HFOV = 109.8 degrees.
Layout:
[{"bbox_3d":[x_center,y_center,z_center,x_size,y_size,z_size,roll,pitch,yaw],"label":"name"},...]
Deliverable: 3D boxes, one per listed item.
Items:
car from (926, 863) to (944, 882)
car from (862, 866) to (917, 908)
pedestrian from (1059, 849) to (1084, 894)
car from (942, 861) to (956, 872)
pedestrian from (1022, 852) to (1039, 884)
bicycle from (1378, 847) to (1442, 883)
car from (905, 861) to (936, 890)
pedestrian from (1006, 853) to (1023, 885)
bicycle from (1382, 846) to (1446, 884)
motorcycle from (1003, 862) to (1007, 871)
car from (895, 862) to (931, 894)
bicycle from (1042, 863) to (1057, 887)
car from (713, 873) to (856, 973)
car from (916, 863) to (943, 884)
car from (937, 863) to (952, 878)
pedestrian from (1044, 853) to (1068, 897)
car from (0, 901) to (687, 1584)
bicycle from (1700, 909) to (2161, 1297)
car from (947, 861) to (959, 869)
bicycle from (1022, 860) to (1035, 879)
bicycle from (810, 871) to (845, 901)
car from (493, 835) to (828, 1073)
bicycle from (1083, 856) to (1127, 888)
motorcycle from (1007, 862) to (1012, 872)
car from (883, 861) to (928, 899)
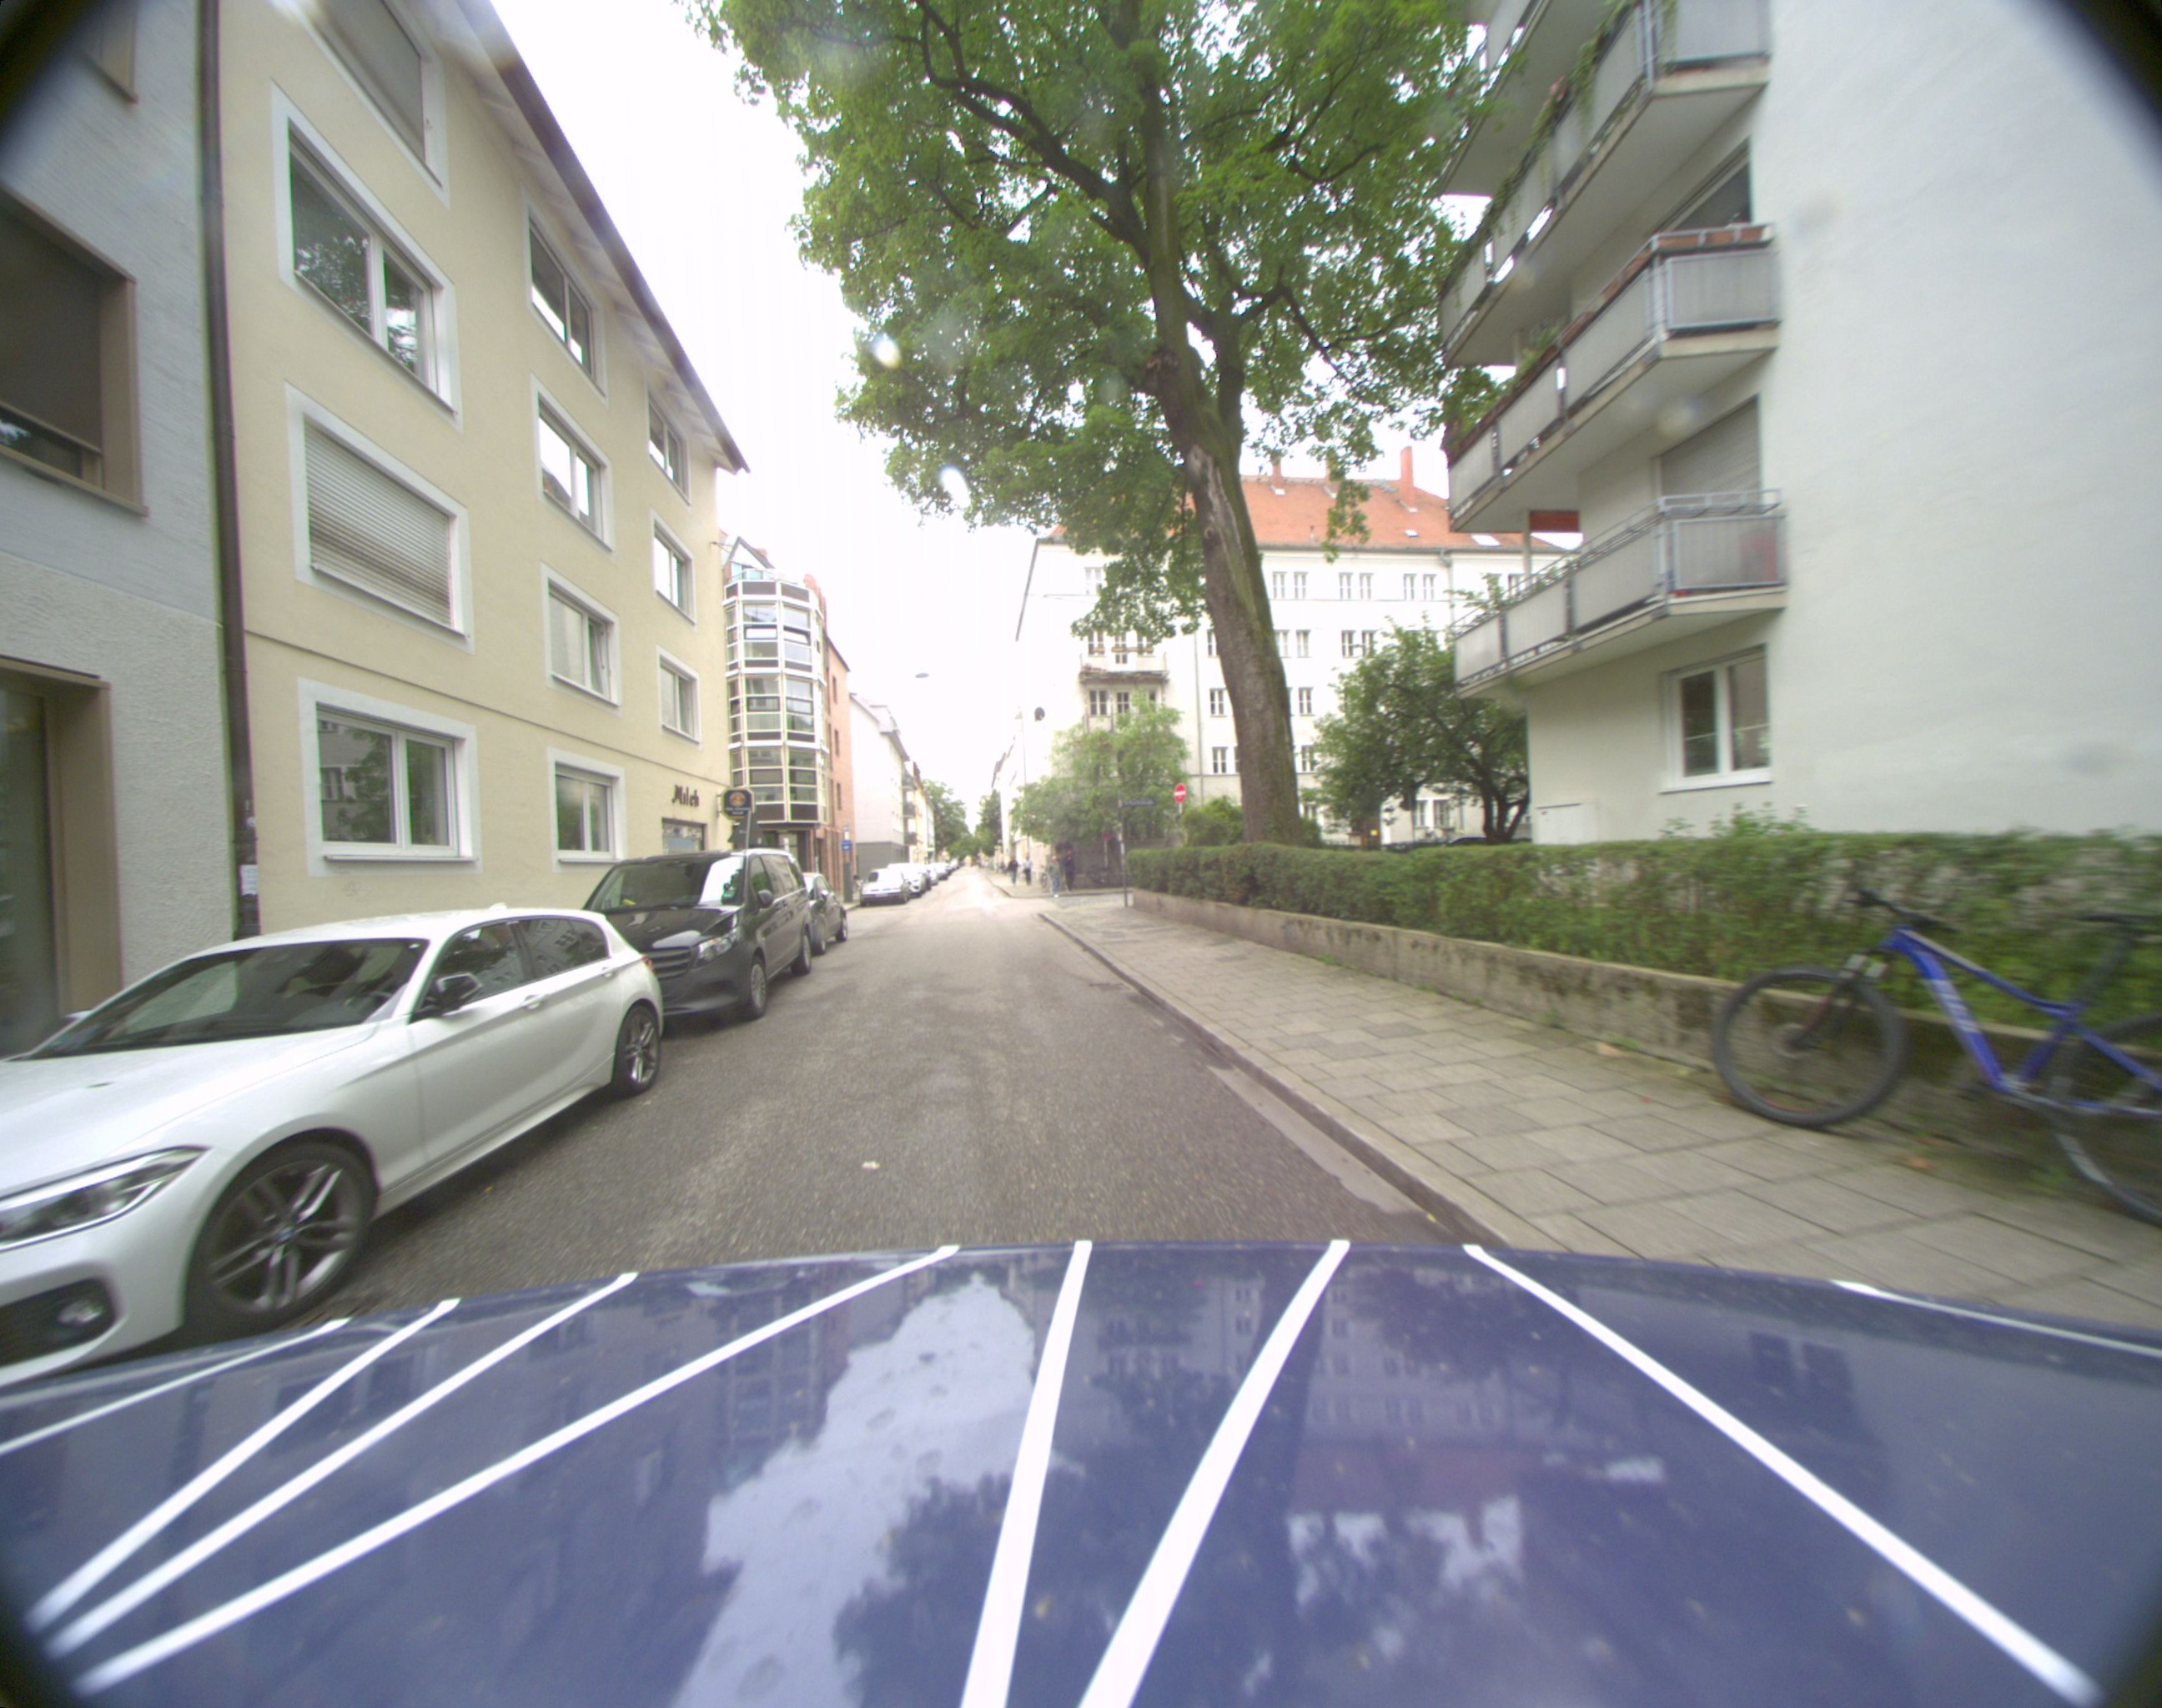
[{"bbox_3d":[-11.700,1.460,60.895,1.155,1.367,2.683,-4,0,-8],"label":"car"},{"bbox_3d":[-7.667,1.269,30.730,1.726,1.427,4.355,-4,0,-10],"label":"car"},{"bbox_3d":[-0.390,0.699,31.050,0.692,1.753,0.741,-5,1,-18],"label":"pedestrian"},{"bbox_3d":[-16.540,1.605,95.301,1.526,1.259,3.208,-4,0,-8],"label":"car"},{"bbox_3d":[-2.877,0.783,43.119,0.695,1.718,0.840,-7,1,-8],"label":"pedestrian"},{"bbox_3d":[10.556,0.351,24.409,1.777,1.065,0.348,-4,0,11],"label":"bicycle"},{"bbox_3d":[-9.637,1.263,45.868,1.620,1.570,4.048,-4,0,-10],"label":"car"},{"bbox_3d":[-3.742,0.854,43.004,0.722,1.718,0.840,-7,1,-8],"label":"pedestrian"},{"bbox_3d":[10.541,0.345,24.052,1.777,1.066,0.348,-4,2,11],"label":"bicycle"},{"bbox_3d":[-8.297,1.351,83.246,0.324,0.968,1.959,-4,0,-8],"label":"motorcycle"},{"bbox_3d":[-8.942,1.245,40.642,1.620,1.548,3.804,-4,0,-10],"label":"car"},{"bbox_3d":[-1.512,0.974,36.481,0.432,1.088,1.702,-4,1,-10],"label":"bicycle"},{"bbox_3d":[-5.470,1.196,14.472,1.640,1.463,3.535,-5,0,-8],"label":"car"},{"bbox_3d":[-11.042,1.415,55.634,1.620,1.369,3.814,-4,0,-8],"label":"car"},{"bbox_3d":[-12.533,1.509,69.922,1.191,1.312,2.778,-4,0,-8],"label":"car"},{"bbox_3d":[-0.983,0.820,30.252,0.692,1.668,0.858,-5,1,-10],"label":"pedestrian"},{"bbox_3d":[-3.859,1.167,3.839,1.774,1.453,4.377,-5,0,-7],"label":"car"},{"bbox_3d":[3.361,0.814,2.847,0.348,1.066,1.779,-6,1,-8],"label":"bicycle"},{"bbox_3d":[-22.434,1.863,133.360,2.000,1.259,3.997,-4,0,-8],"label":"car"},{"bbox_3d":[-3.501,1.046,50.592,0.450,1.187,1.497,-4,1,-18],"label":"bicycle"},{"bbox_3d":[-11.069,1.388,33.272,0.742,1.210,1.781,-2,1,6],"label":"bicycle"},{"bbox_3d":[-4.575,0.905,9.300,1.997,1.965,4.880,-5,0,-11],"label":"car"},{"bbox_3d":[1.029,0.777,32.893,1.812,1.253,0.431,-3,1,-9],"label":"bicycle"},{"bbox_3d":[-6.959,1.239,73.751,0.324,0.968,1.959,-4,0,-8],"label":"motorcycle"},{"bbox_3d":[-8.314,1.175,36.260,1.726,1.606,4.451,-4,0,-10],"label":"car"}]
